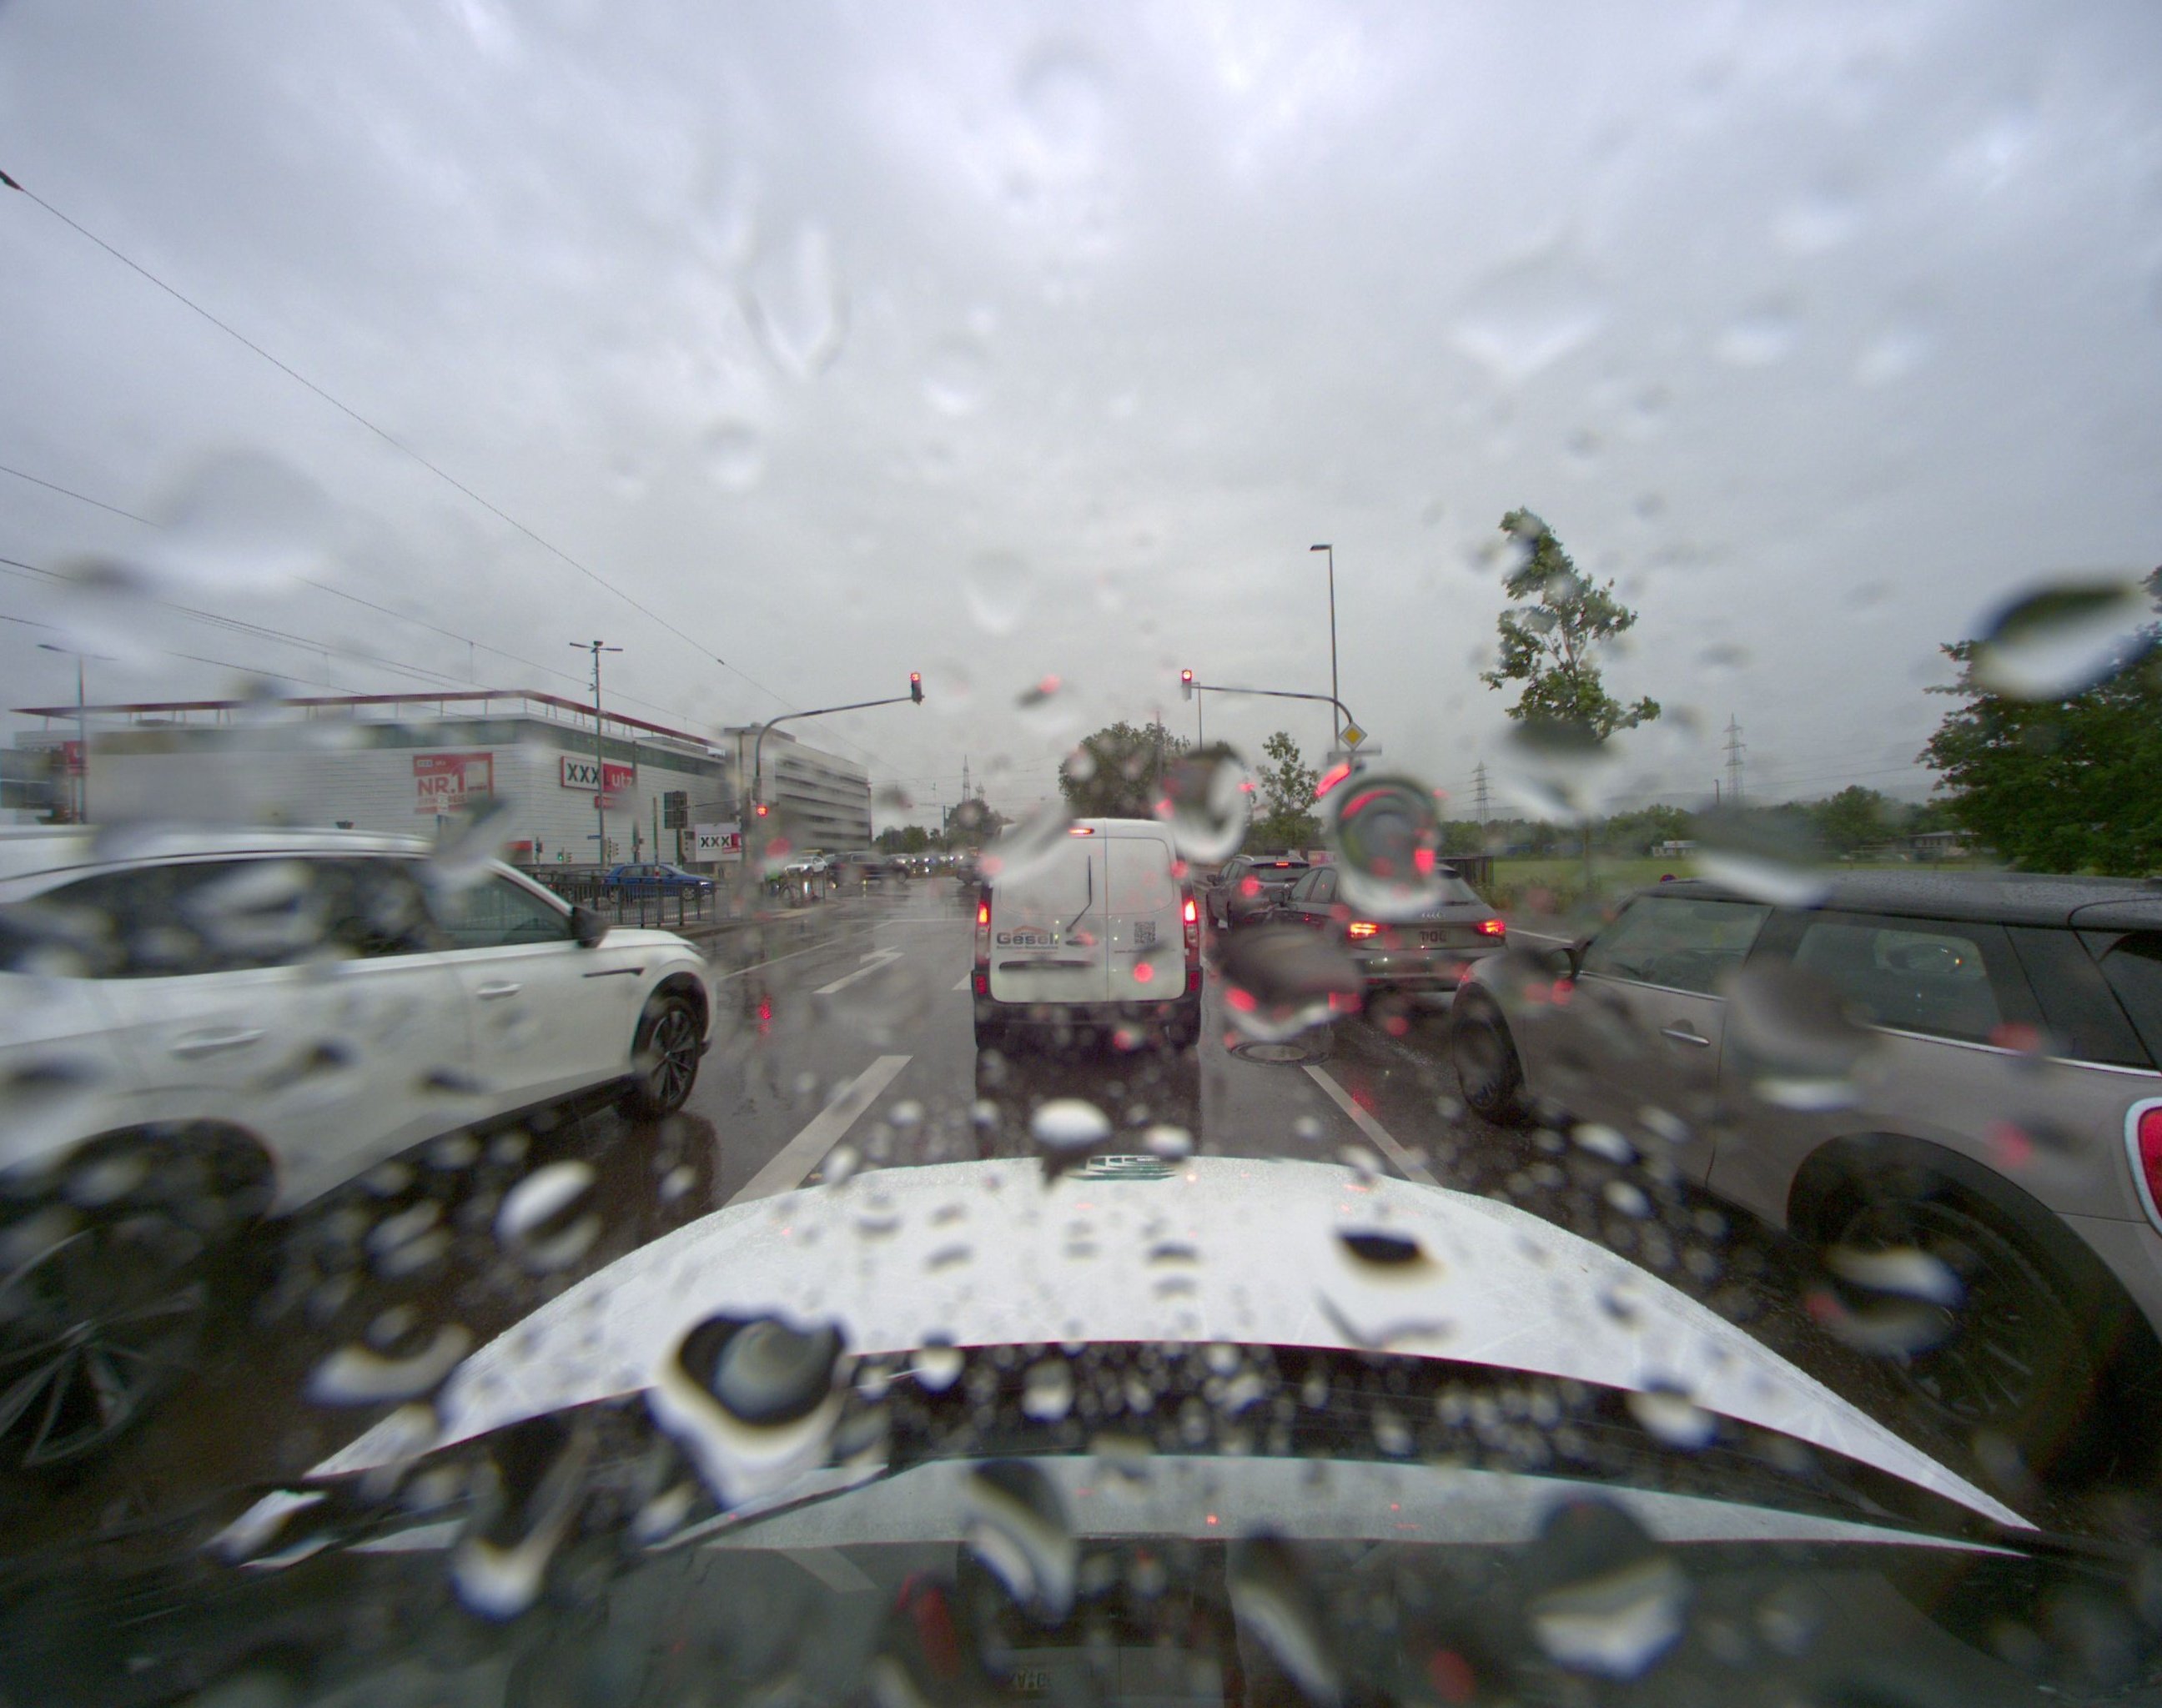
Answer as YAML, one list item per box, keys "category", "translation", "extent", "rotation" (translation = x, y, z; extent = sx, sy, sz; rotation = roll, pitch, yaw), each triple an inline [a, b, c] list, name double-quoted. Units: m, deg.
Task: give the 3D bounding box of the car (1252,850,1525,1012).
- category: "car"
  translation: [3.098, 0.717, 9.006]
  extent: [1.592, 1.366, 3.629]
  rotation: [-2, -1, 0]

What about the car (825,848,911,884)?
- category: "car"
  translation: [-10.611, 0.636, 40.759]
  extent: [1.686, 1.674, 3.818]
  rotation: [2, 0, 45]

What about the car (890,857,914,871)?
- category: "car"
  translation: [-18.592, 1.011, 84.522]
  extent: [1.554, 1.426, 3.570]
  rotation: [1, -1, 2]

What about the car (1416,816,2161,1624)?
- category: "car"
  translation: [2.938, 0.706, 3.249]
  extent: [1.696, 1.508, 3.881]
  rotation: [1, 0, 2]

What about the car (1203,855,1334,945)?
- category: "car"
  translation: [3.430, 0.781, 15.592]
  extent: [1.678, 1.508, 3.921]
  rotation: [0, 0, 1]

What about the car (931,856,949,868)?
- category: "car"
  translation: [-17.719, 1.031, 102.272]
  extent: [1.554, 1.426, 3.570]
  rotation: [1, -1, 2]

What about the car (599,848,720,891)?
- category: "car"
  translation: [-15.872, 0.582, 30.860]
  extent: [3.734, 1.507, 1.644]
  rotation: [1, -1, -13]

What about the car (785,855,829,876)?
- category: "car"
  translation: [-19.417, 0.811, 57.814]
  extent: [1.704, 1.426, 3.810]
  rotation: [1, -1, 2]

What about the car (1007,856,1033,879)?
- category: "car"
  translation: [-4.090, 0.900, 54.653]
  extent: [1.642, 1.398, 3.449]
  rotation: [2, 0, -4]

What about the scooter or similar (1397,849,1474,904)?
- category: "scooter or similar"
  translation: [8.533, 0.499, 19.765]
  extent: [0.687, 1.211, 3.022]
  rotation: [-2, 0, 3]

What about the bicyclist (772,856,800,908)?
- category: "bicyclist"
  translation: [-8.640, 0.802, 23.847]
  extent: [0.608, 1.491, 0.593]
  rotation: [0, -1, -39]

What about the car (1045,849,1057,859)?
- category: "car"
  translation: [-5.146, -0.005, 138.337]
  extent: [1.942, 1.662, 4.461]
  rotation: [1, -1, -1]

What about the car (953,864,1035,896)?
- category: "car"
  translation: [-4.063, 1.222, 38.445]
  extent: [1.516, 1.398, 3.820]
  rotation: [1, -1, 41]

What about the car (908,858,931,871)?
- category: "car"
  translation: [-18.158, 1.214, 91.824]
  extent: [1.704, 1.426, 3.810]
  rotation: [1, -1, 2]

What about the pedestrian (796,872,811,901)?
- category: "pedestrian"
  translation: [-8.816, 1.019, 25.876]
  extent: [0.314, 0.897, 0.380]
  rotation: [1, 0, -1]

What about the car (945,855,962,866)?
- category: "car"
  translation: [-17.784, 0.901, 113.663]
  extent: [1.554, 1.426, 3.570]
  rotation: [1, -1, 2]

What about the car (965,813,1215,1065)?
- category: "car"
  translation: [0.013, 0.566, 7.821]
  extent: [1.749, 1.750, 4.166]
  rotation: [-1, 1, -2]

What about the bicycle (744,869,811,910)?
- category: "bicycle"
  translation: [-8.817, 1.008, 23.683]
  extent: [1.768, 1.137, 0.514]
  rotation: [0, -1, -41]

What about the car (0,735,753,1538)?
- category: "car"
  translation: [-3.304, 0.631, 3.301]
  extent: [1.923, 1.775, 4.665]
  rotation: [0, 0, 2]
